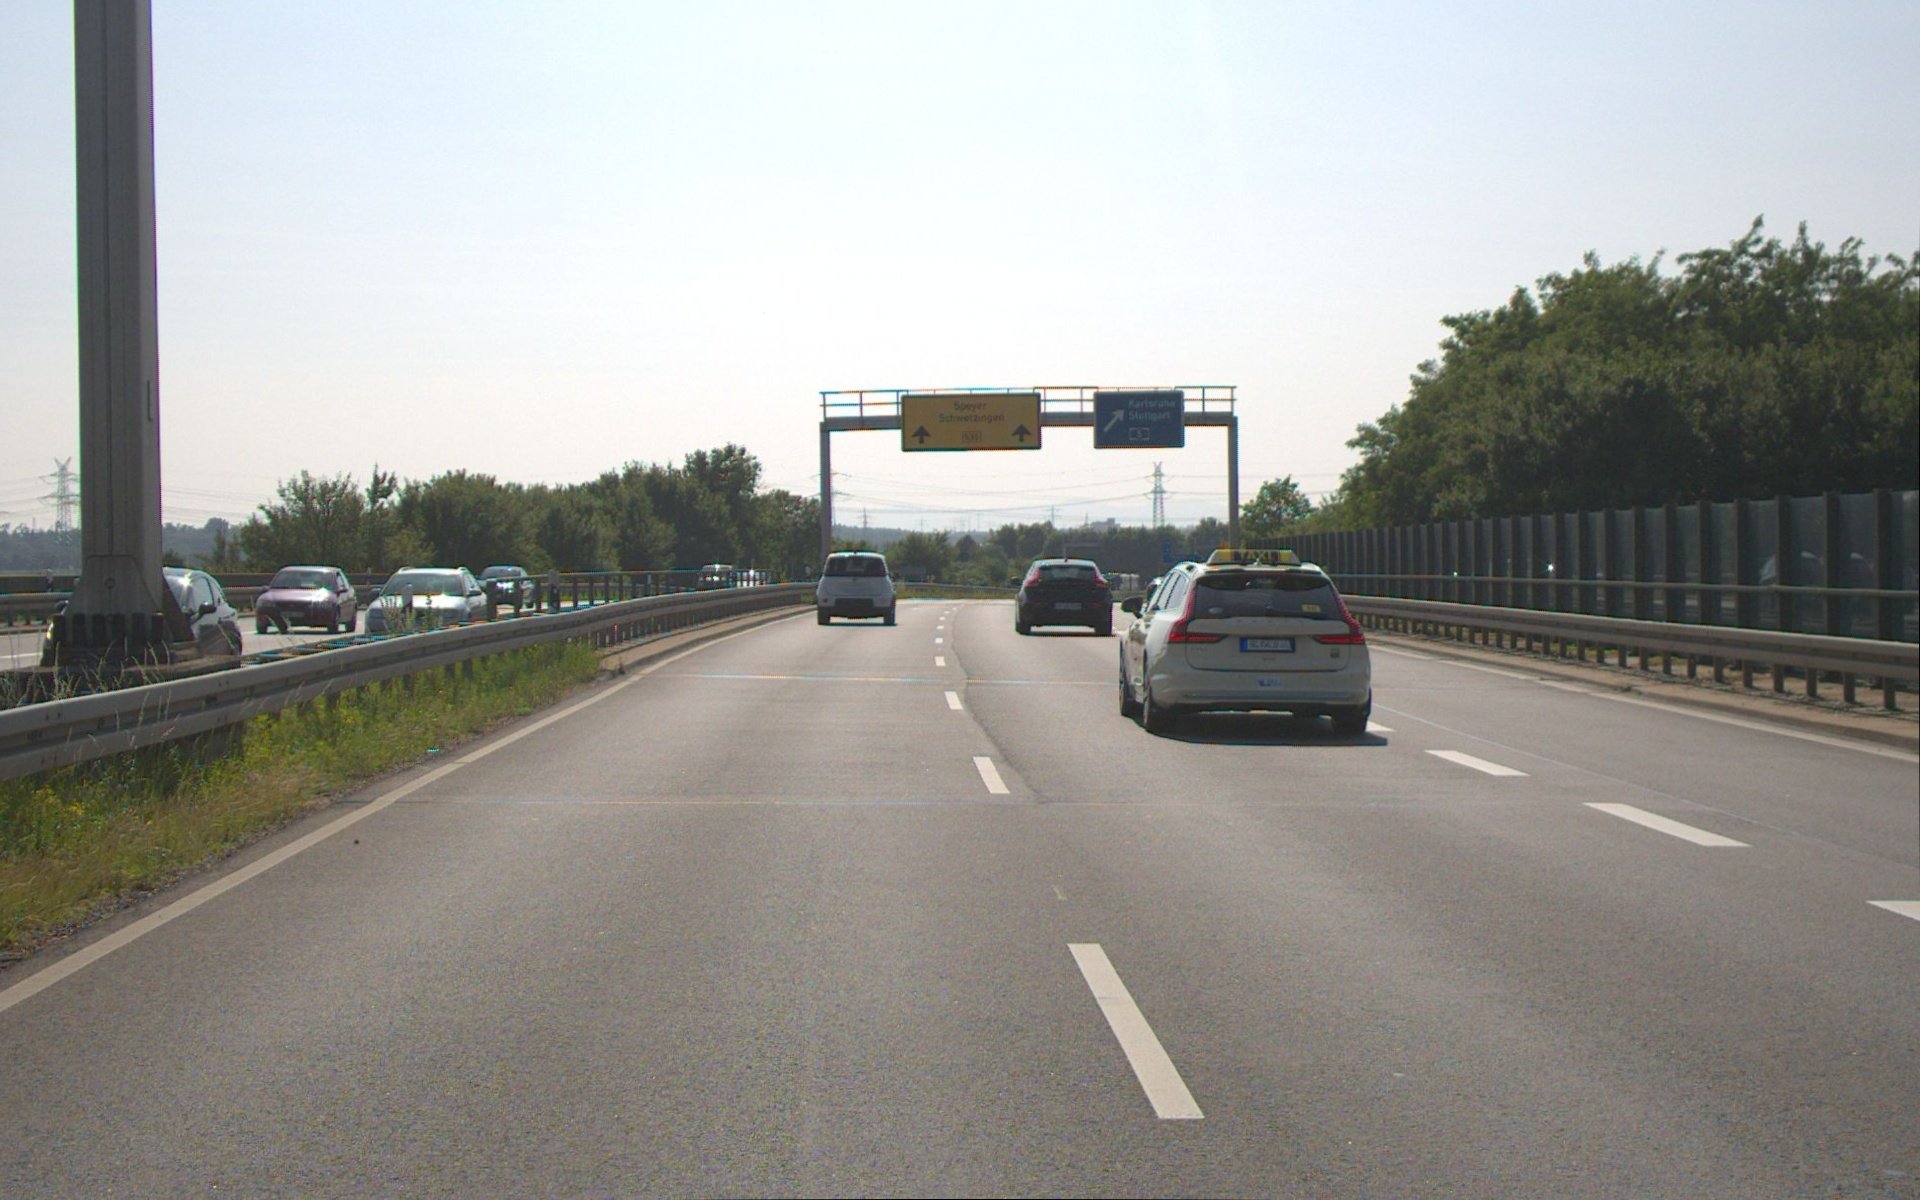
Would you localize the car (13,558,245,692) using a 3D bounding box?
[{"bbox_3d":[-9.901,0.264,41.254,1.795,1.468,4.000,1,1,0],"label":"car"}]

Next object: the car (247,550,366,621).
[{"bbox_3d":[-13.886,-0.336,73.299,1.824,1.423,4.532,1,1,-2],"label":"car"}]

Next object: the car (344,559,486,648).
[{"bbox_3d":[-9.437,0.028,59.848,1.873,1.433,4.503,1,1,-2],"label":"car"}]

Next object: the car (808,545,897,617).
[{"bbox_3d":[-2.293,-0.405,73.979,1.793,1.498,4.043,0,0,0],"label":"car"}]

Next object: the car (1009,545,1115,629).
[{"bbox_3d":[1.915,-0.252,65.508,1.793,1.538,3.672,1,0,-2],"label":"car"}]

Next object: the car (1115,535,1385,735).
[{"bbox_3d":[2.445,0.249,29.983,1.958,1.596,4.107,1,1,0],"label":"car"}]
